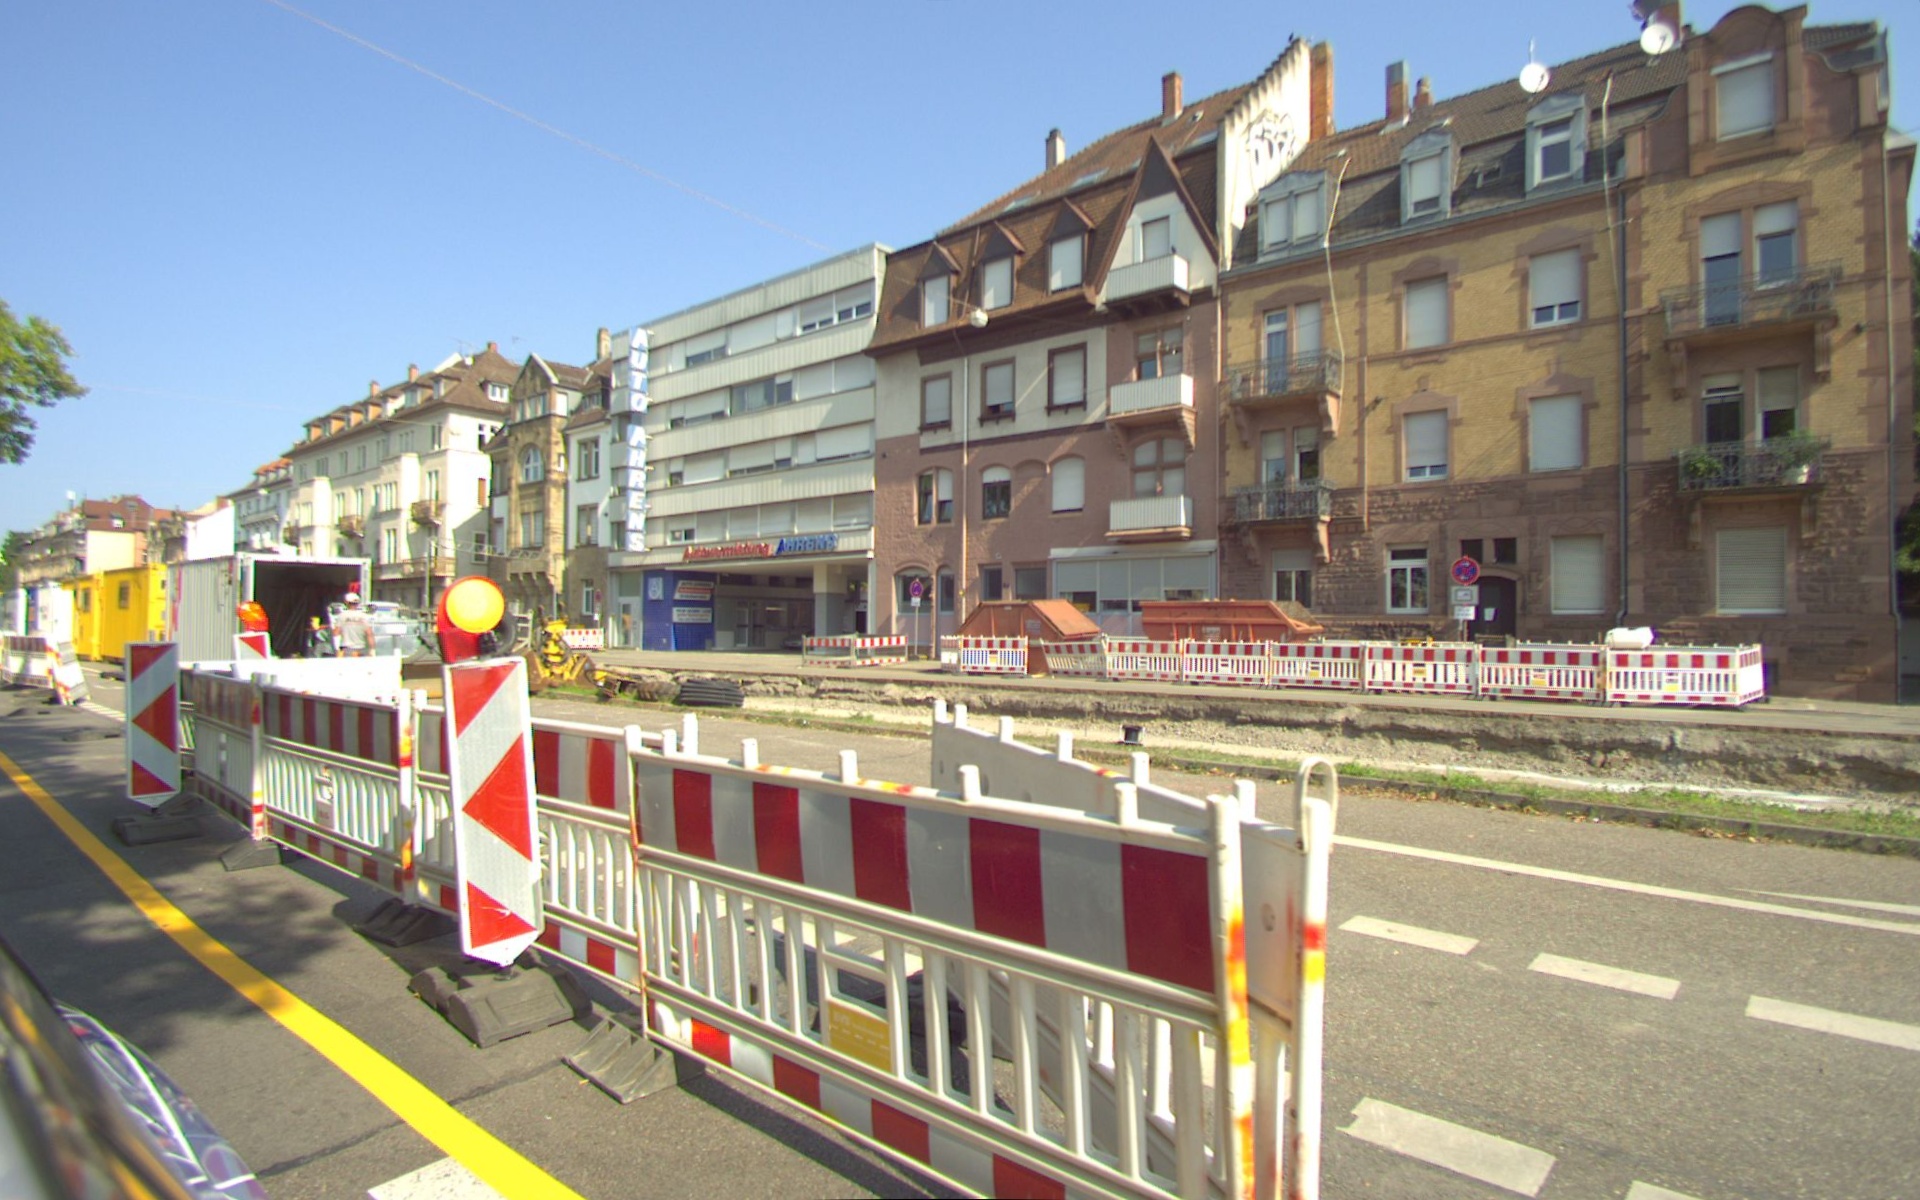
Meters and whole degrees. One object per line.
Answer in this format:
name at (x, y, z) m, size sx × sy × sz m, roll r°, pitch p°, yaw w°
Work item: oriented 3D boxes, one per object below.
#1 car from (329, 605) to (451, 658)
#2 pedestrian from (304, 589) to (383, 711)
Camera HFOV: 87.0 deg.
car at (-25.019, 1.354, 44.285) m, size 7.118 × 2.151 × 2.336 m, roll -1°, pitch -3°, yaw 41°
pedestrian at (-9.483, 0.764, 15.582) m, size 0.594 × 1.811 × 0.795 m, roll -1°, pitch -3°, yaw 35°
